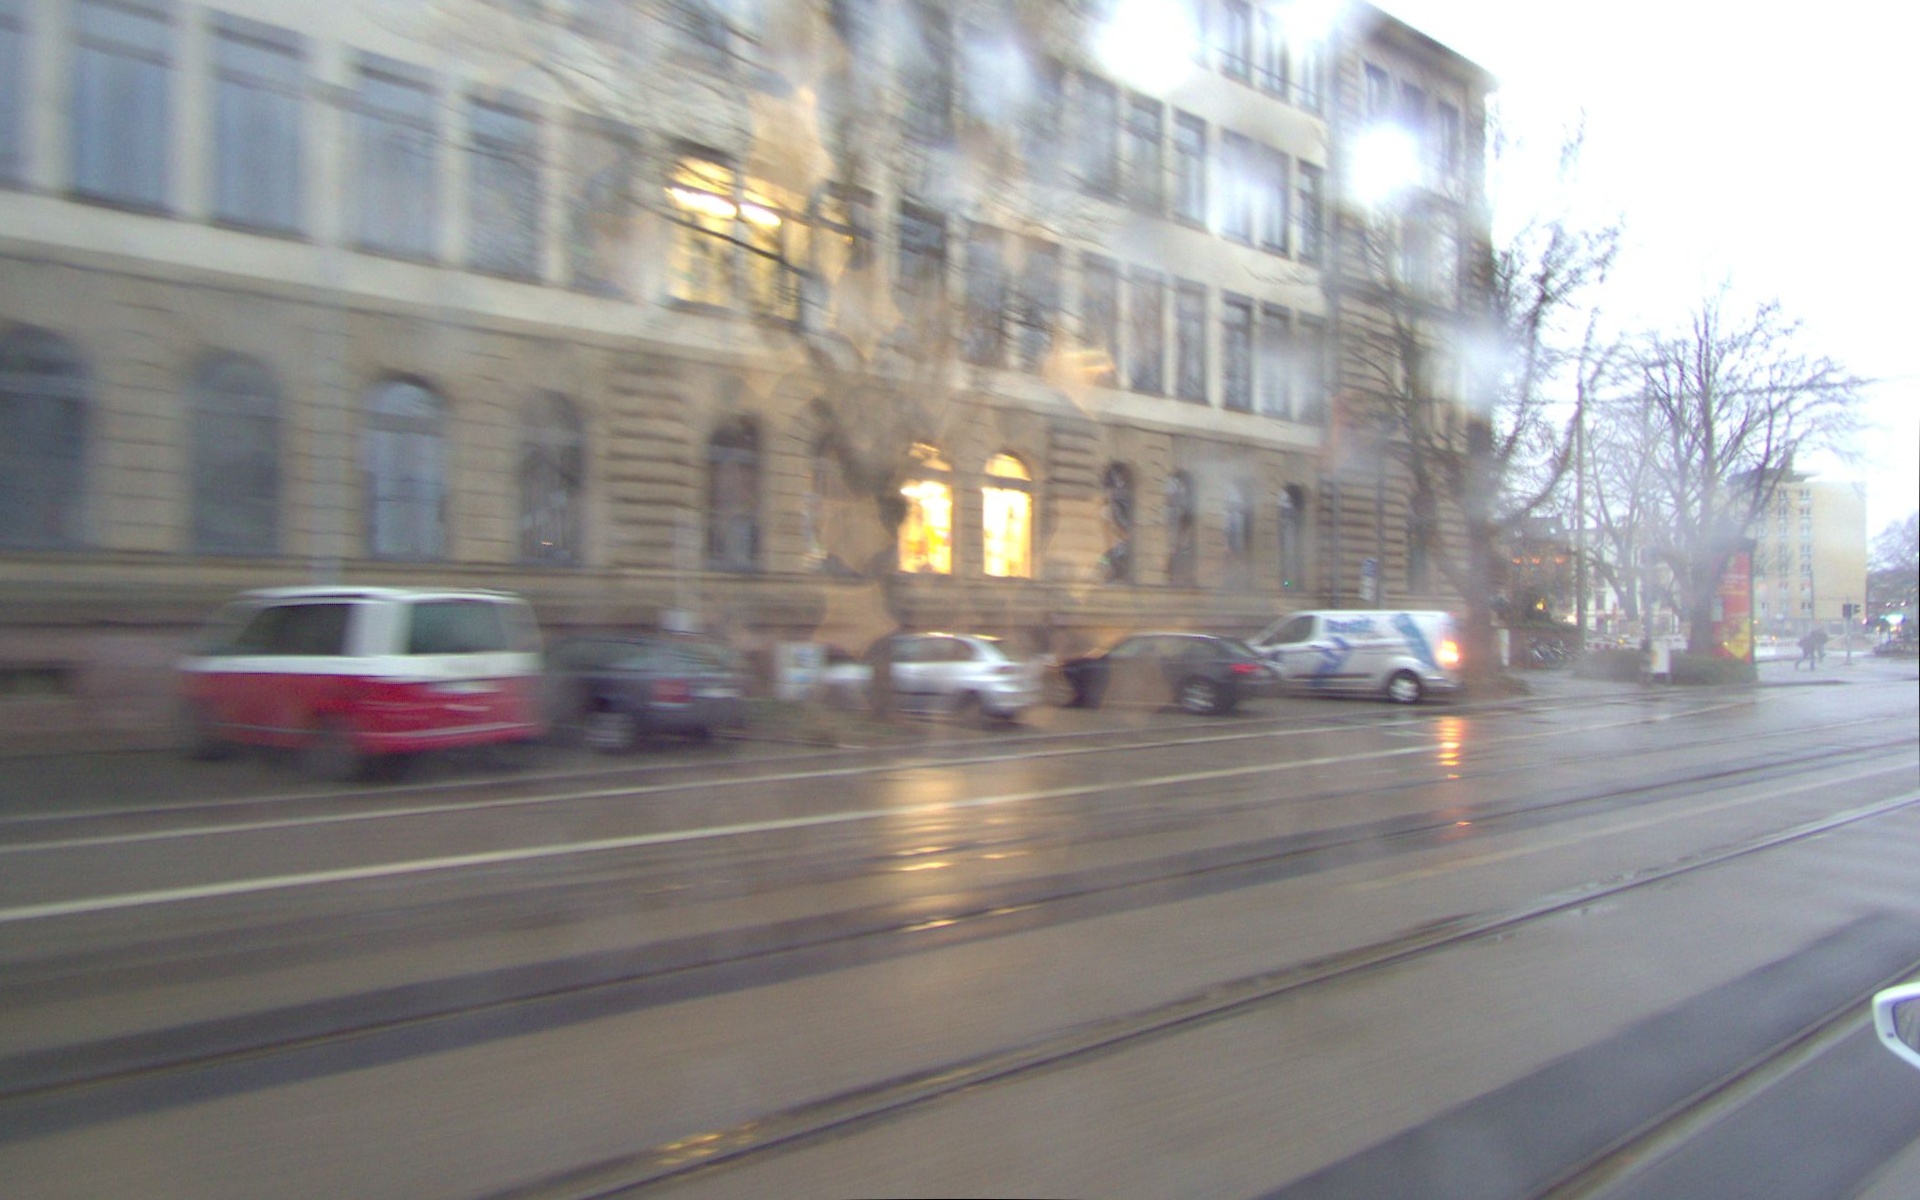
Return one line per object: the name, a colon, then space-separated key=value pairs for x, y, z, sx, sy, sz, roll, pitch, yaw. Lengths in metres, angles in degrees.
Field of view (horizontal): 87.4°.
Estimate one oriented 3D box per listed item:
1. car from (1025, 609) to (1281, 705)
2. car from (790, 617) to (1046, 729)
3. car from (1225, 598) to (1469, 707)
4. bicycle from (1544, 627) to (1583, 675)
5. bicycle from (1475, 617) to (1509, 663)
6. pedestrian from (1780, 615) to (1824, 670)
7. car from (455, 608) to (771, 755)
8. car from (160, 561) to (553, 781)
car: x=3.607 y=0.990 z=19.023 sx=4.398 sy=1.477 sz=1.796 roll=2 pitch=0 yaw=31
car: x=-0.684 y=1.094 z=16.144 sx=3.754 sy=1.477 sz=1.636 roll=2 pitch=0 yaw=24
car: x=8.342 y=1.066 z=21.975 sx=4.709 sy=2.061 sz=1.912 roll=2 pitch=0 yaw=20
bicycle: x=23.363 y=1.949 z=38.917 sx=0.699 sy=1.711 sz=2.430 roll=2 pitch=0 yaw=18
bicycle: x=21.044 y=1.550 z=39.771 sx=0.699 sy=1.711 sz=2.430 roll=2 pitch=0 yaw=18
pedestrian: x=37.912 y=1.909 z=45.231 sx=1.044 sy=2.402 sz=0.996 roll=2 pitch=1 yaw=-3
car: x=-4.628 y=0.955 z=13.308 sx=3.905 sy=1.560 sz=1.820 roll=2 pitch=0 yaw=30
car: x=-7.077 y=0.652 z=11.673 sx=4.540 sy=2.081 sz=1.962 roll=2 pitch=1 yaw=30
